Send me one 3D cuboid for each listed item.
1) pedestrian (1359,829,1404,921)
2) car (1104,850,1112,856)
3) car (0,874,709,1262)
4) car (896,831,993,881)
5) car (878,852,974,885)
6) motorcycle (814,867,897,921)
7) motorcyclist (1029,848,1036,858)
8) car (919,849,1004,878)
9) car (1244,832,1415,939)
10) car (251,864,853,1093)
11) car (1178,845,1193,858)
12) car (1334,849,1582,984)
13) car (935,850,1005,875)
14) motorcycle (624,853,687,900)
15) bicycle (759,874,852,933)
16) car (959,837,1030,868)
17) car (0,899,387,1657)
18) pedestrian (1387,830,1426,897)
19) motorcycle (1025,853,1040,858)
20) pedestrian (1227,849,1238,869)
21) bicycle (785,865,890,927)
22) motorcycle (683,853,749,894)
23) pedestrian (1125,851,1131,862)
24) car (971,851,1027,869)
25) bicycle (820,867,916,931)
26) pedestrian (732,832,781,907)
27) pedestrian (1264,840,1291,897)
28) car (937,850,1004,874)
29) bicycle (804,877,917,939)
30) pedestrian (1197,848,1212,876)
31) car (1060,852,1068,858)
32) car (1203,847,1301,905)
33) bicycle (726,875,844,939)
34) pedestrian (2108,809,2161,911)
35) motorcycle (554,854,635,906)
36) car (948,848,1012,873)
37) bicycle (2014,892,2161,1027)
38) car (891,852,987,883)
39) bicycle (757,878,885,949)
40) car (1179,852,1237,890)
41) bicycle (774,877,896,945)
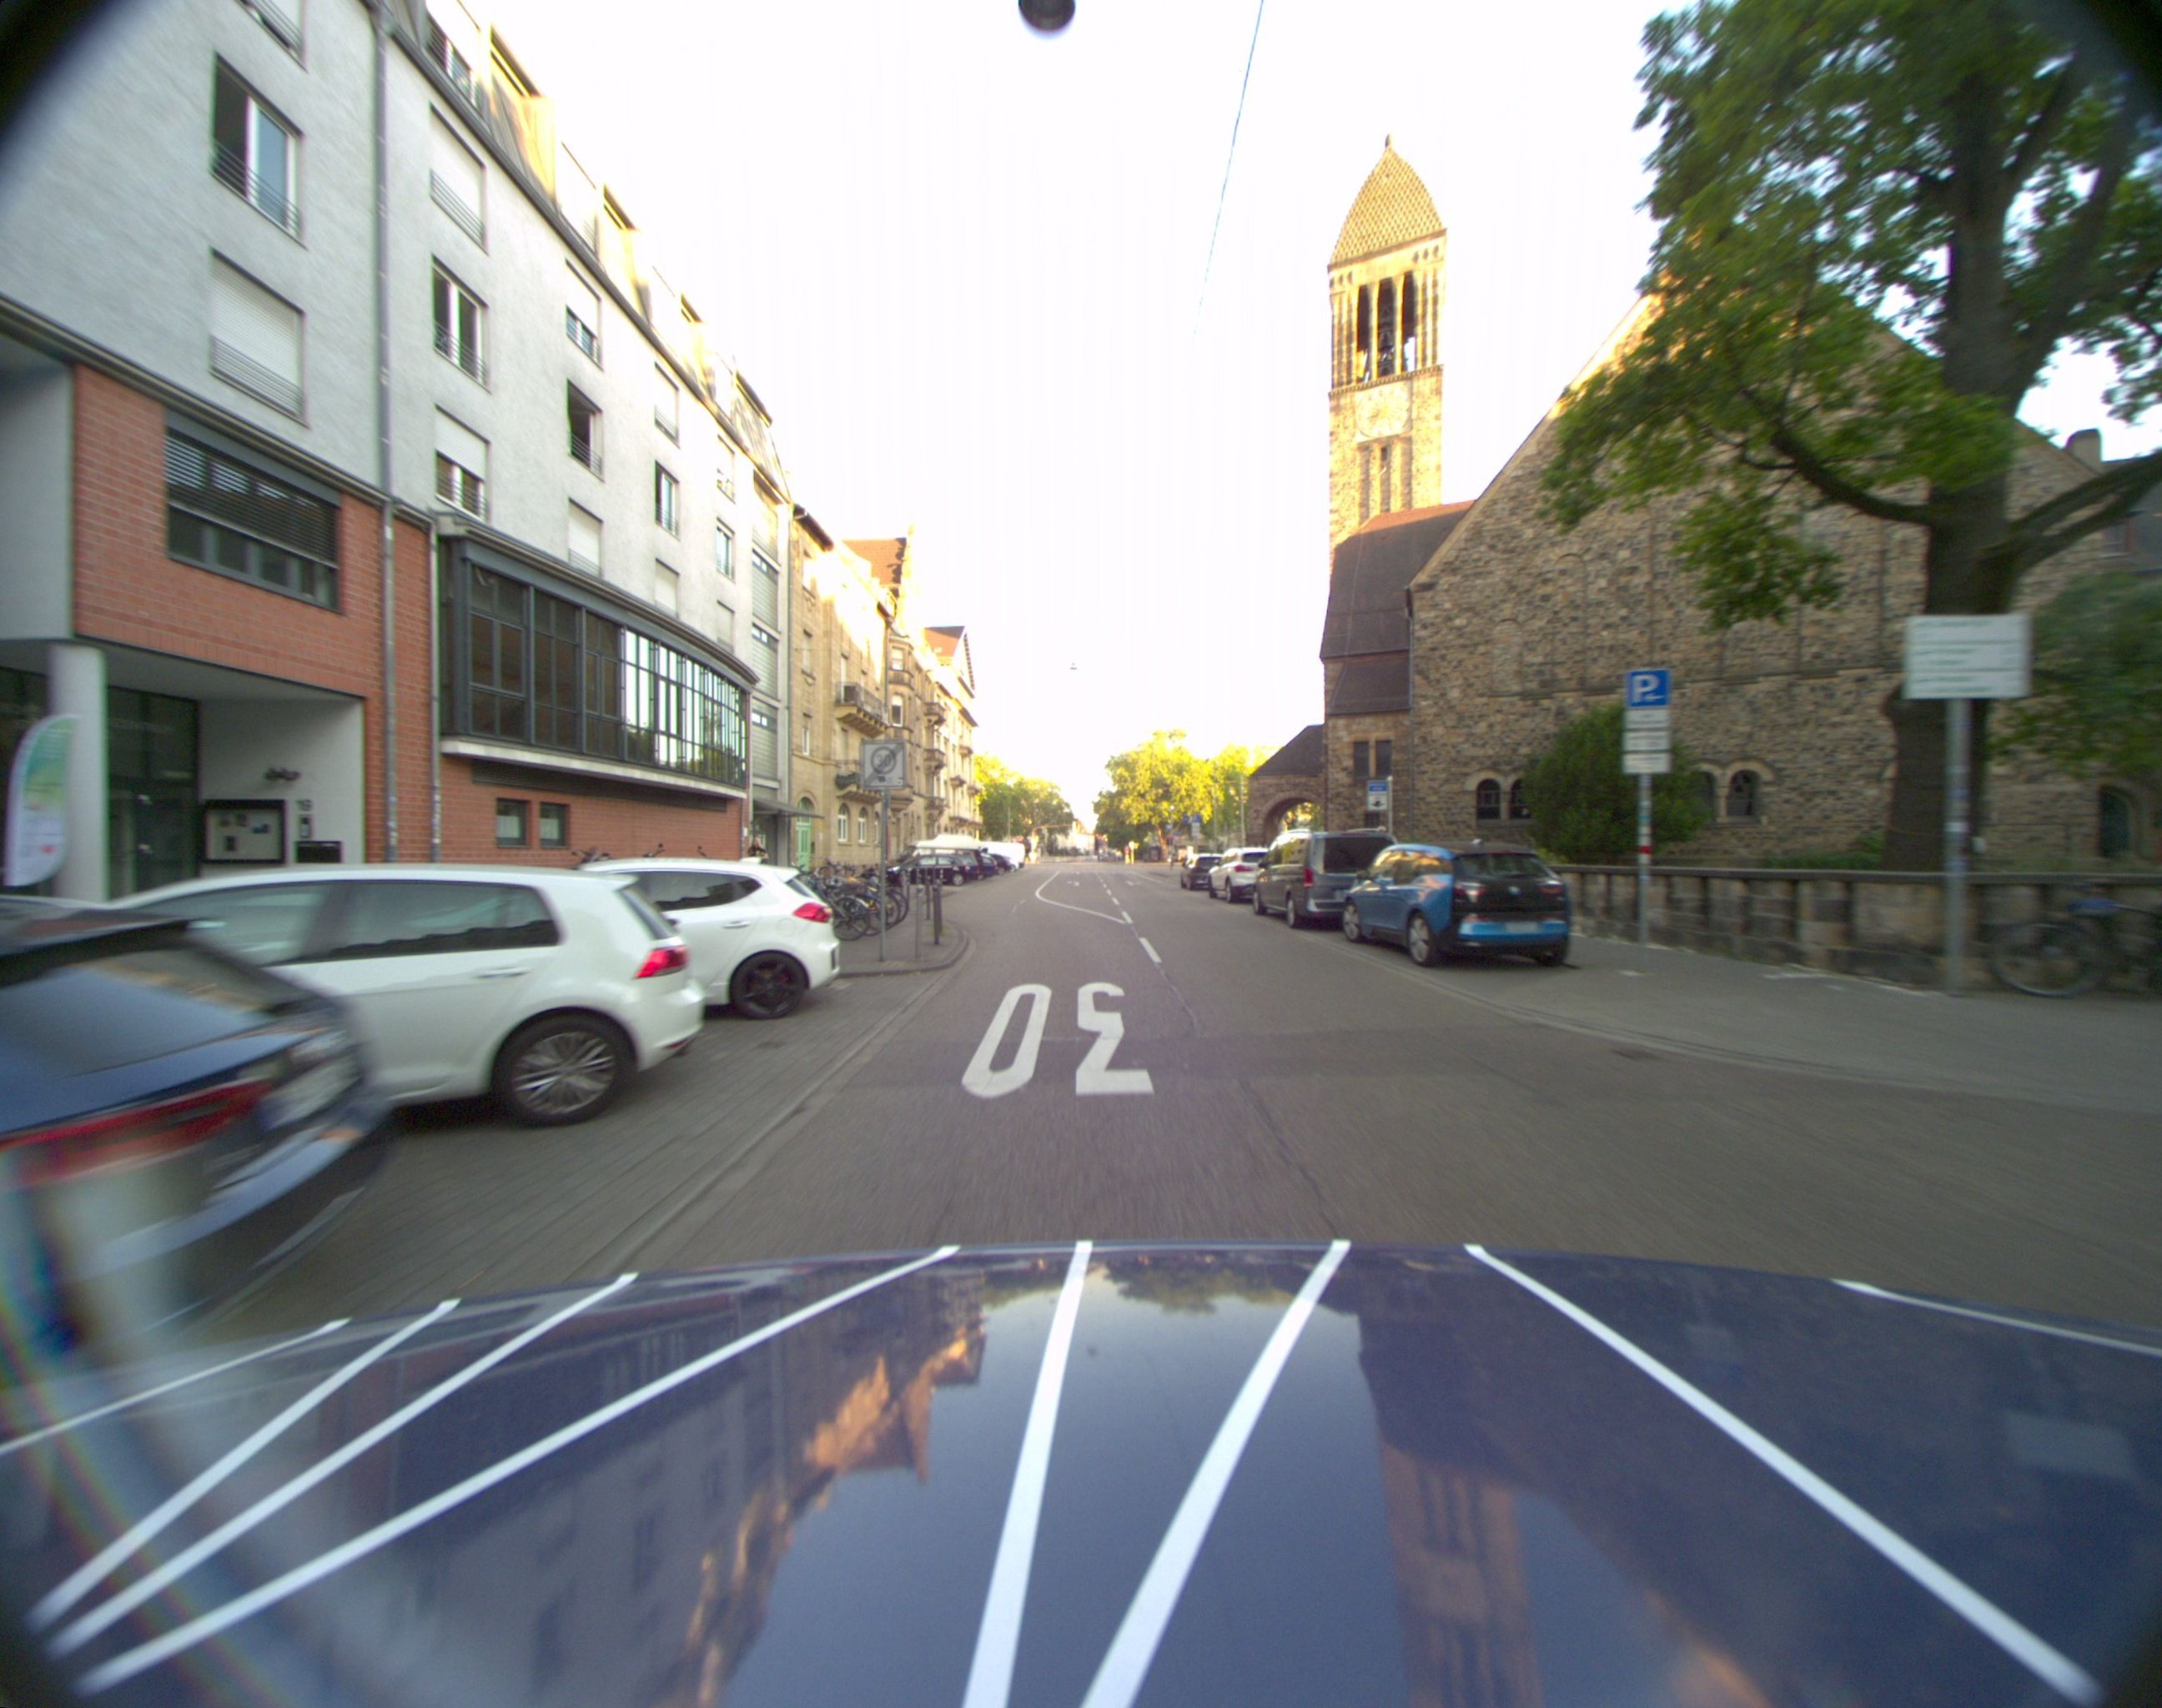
[{"bbox_3d":[6.343,0.431,16.065,0.584,1.894,0.803,0,1,-3],"label":"pedestrian"},{"bbox_3d":[6.713,-0.213,191.214,1.827,1.565,4.001,0,0,4],"label":"car"},{"bbox_3d":[-4.407,0.921,4.237,4.007,1.465,1.870,0,2,-33],"label":"car"},{"bbox_3d":[-7.287,0.066,40.742,4.733,2.532,1.913,0,1,-29],"label":"car"},{"bbox_3d":[-7.266,0.649,35.728,4.076,1.483,1.719,0,1,-31],"label":"car"},{"bbox_3d":[-4.975,0.881,16.840,1.650,1.095,0.646,2,0,-8],"label":"motorcycle"},{"bbox_3d":[-7.611,-0.121,119.622,0.830,1.511,0.621,0,1,-25],"label":"motorcyclist"},{"bbox_3d":[-6.869,0.544,43.675,4.407,1.478,1.839,2,0,-30],"label":"car"},{"bbox_3d":[4.917,0.538,15.934,1.998,1.856,5.289,0,0,2],"label":"car"},{"bbox_3d":[-4.318,0.874,6.922,4.006,1.498,1.766,0,1,-29],"label":"car"},{"bbox_3d":[15.651,-0.397,113.585,1.865,2.002,3.815,0,0,15],"label":"car"},{"bbox_3d":[4.966,0.708,10.675,1.644,1.546,4.004,0,0,2],"label":"car"},{"bbox_3d":[-7.169,0.551,49.335,4.043,1.423,1.863,2,1,-34],"label":"car"},{"bbox_3d":[-11.185,0.569,20.062,0.778,1.133,2.413,1,0,-13],"label":"motorcycle"},{"bbox_3d":[-5.156,0.914,14.282,1.544,1.032,0.472,2,1,-1],"label":"bicycle"},{"bbox_3d":[-7.568,-0.076,66.662,5.897,2.537,2.189,1,2,-41],"label":"car"},{"bbox_3d":[-4.272,0.972,1.491,4.007,1.514,1.705,0,2,-30],"label":"car"},{"bbox_3d":[6.973,0.198,16.277,0.533,1.397,0.659,-1,1,1],"label":"pedestrian"},{"bbox_3d":[-7.583,0.235,119.647,2.288,0.917,0.621,0,1,-25],"label":"motorcycle"},{"bbox_3d":[10.860,0.337,54.452,0.549,1.445,0.559,1,1,35],"label":"pedestrian"},{"bbox_3d":[-4.925,0.842,15.458,1.864,1.139,0.659,3,1,0],"label":"bicycle"},{"bbox_3d":[-11.065,0.561,23.120,0.802,1.133,2.440,2,0,0],"label":"motorcycle"},{"bbox_3d":[7.177,0.394,114.959,0.745,1.619,0.660,0,1,17],"label":"pedestrian"},{"bbox_3d":[-6.866,0.529,63.949,4.264,1.445,1.994,1,1,-38],"label":"car"},{"bbox_3d":[-4.138,0.874,14.829,1.712,1.169,0.472,2,1,-1],"label":"bicycle"},{"bbox_3d":[-9.171,0.426,21.492,0.608,2.002,0.857,13,1,1],"label":"pedestrian"},{"bbox_3d":[6.526,0.473,25.285,0.648,1.868,0.891,0,1,-3],"label":"pedestrian"},{"bbox_3d":[-7.518,0.550,51.798,4.066,1.489,1.749,2,1,-35],"label":"car"},{"bbox_3d":[-3.960,0.972,13.704,1.862,1.032,0.472,2,1,-1],"label":"bicycle"},{"bbox_3d":[7.775,0.505,47.798,0.716,1.715,0.691,0,1,-9],"label":"pedestrian"},{"bbox_3d":[-4.325,0.360,196.470,1.794,1.571,4.001,0,0,4],"label":"car"},{"bbox_3d":[5.034,0.585,22.984,1.876,1.582,4.467,0,0,-1],"label":"car"},{"bbox_3d":[-5.117,0.909,13.189,1.862,1.032,0.402,2,1,-1],"label":"bicycle"},{"bbox_3d":[10.661,0.056,7.201,0.708,0.975,0.837,0,1,-2],"label":"pedestrian"},{"bbox_3d":[-11.252,0.561,17.650,0.590,1.097,2.083,3,1,-3],"label":"motorcycle"},{"bbox_3d":[-7.248,0.481,54.622,4.107,1.598,1.811,2,1,-38],"label":"car"},{"bbox_3d":[9.763,0.918,6.775,2.144,1.127,0.555,0,1,1],"label":"bicycle"},{"bbox_3d":[-7.128,0.638,38.227,4.363,1.494,1.909,0,1,-28],"label":"car"},{"bbox_3d":[-4.147,0.942,12.154,1.862,1.059,0.445,2,1,-1],"label":"bicycle"},{"bbox_3d":[5.083,0.634,30.931,1.787,1.427,4.316,0,0,2],"label":"car"},{"bbox_3d":[-4.113,0.951,12.765,1.862,1.059,0.445,2,1,-1],"label":"bicycle"}]
